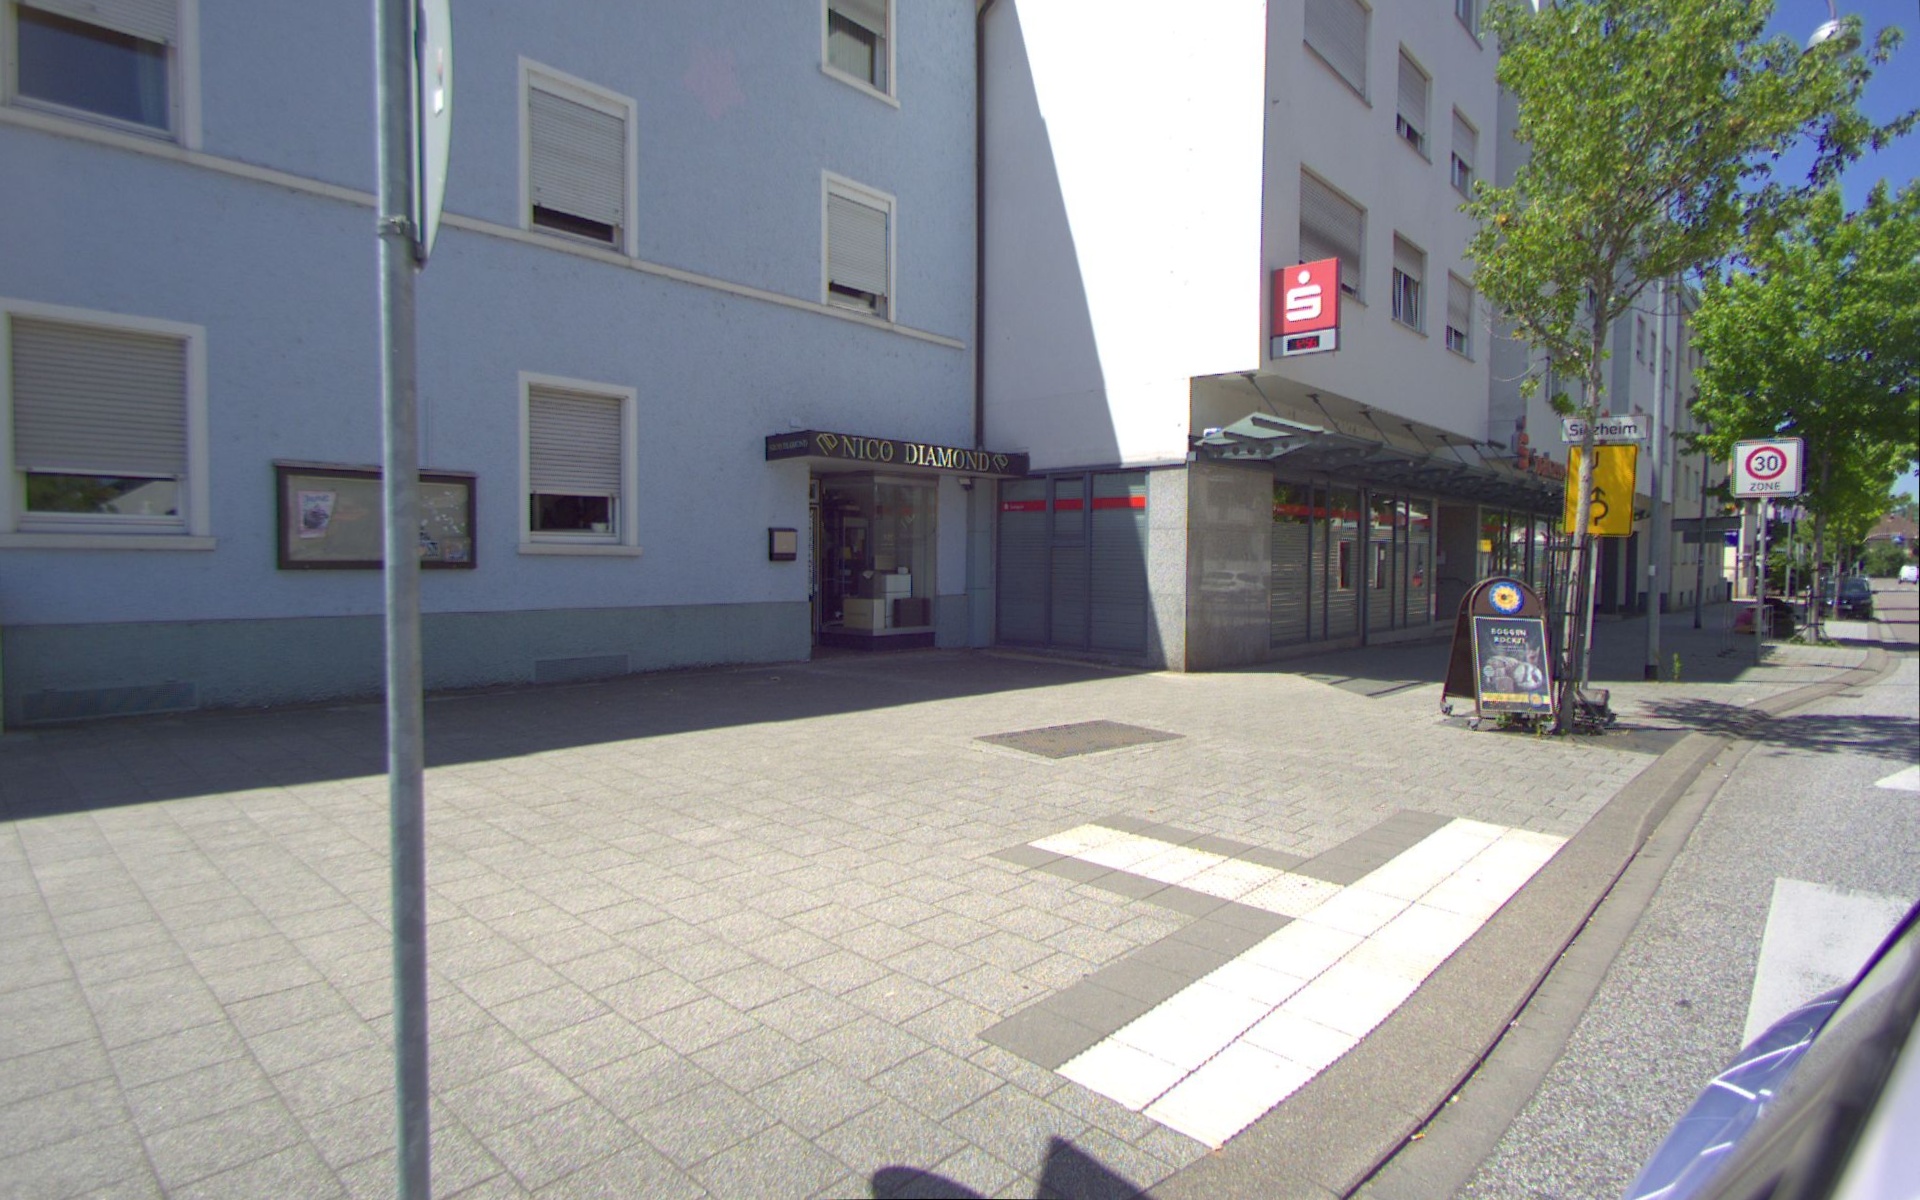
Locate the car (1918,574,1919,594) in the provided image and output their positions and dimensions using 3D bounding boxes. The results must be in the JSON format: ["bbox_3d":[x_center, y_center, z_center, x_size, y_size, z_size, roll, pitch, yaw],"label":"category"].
[{"bbox_3d":[81.074,-1.282,83.906,1.766,1.653,4.246,2,2,35],"label":"car"}]

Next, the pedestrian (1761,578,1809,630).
[{"bbox_3d":[20.721,0.082,25.414,0.527,1.255,0.763,0,3,-32],"label":"pedestrian"}]

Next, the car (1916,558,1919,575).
[{"bbox_3d":[143.501,-4.927,150.252,2.226,2.497,5.168,2,3,43],"label":"car"}]

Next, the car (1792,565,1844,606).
[{"bbox_3d":[38.628,-0.683,45.603,1.687,1.743,4.074,2,3,40],"label":"car"}]

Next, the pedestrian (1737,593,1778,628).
[{"bbox_3d":[20.703,0.259,26.269,0.527,0.862,0.680,-1,3,-33],"label":"pedestrian"}]

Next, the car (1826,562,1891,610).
[{"bbox_3d":[35.980,-0.593,40.606,1.687,1.742,3.943,5,5,39],"label":"car"}]
